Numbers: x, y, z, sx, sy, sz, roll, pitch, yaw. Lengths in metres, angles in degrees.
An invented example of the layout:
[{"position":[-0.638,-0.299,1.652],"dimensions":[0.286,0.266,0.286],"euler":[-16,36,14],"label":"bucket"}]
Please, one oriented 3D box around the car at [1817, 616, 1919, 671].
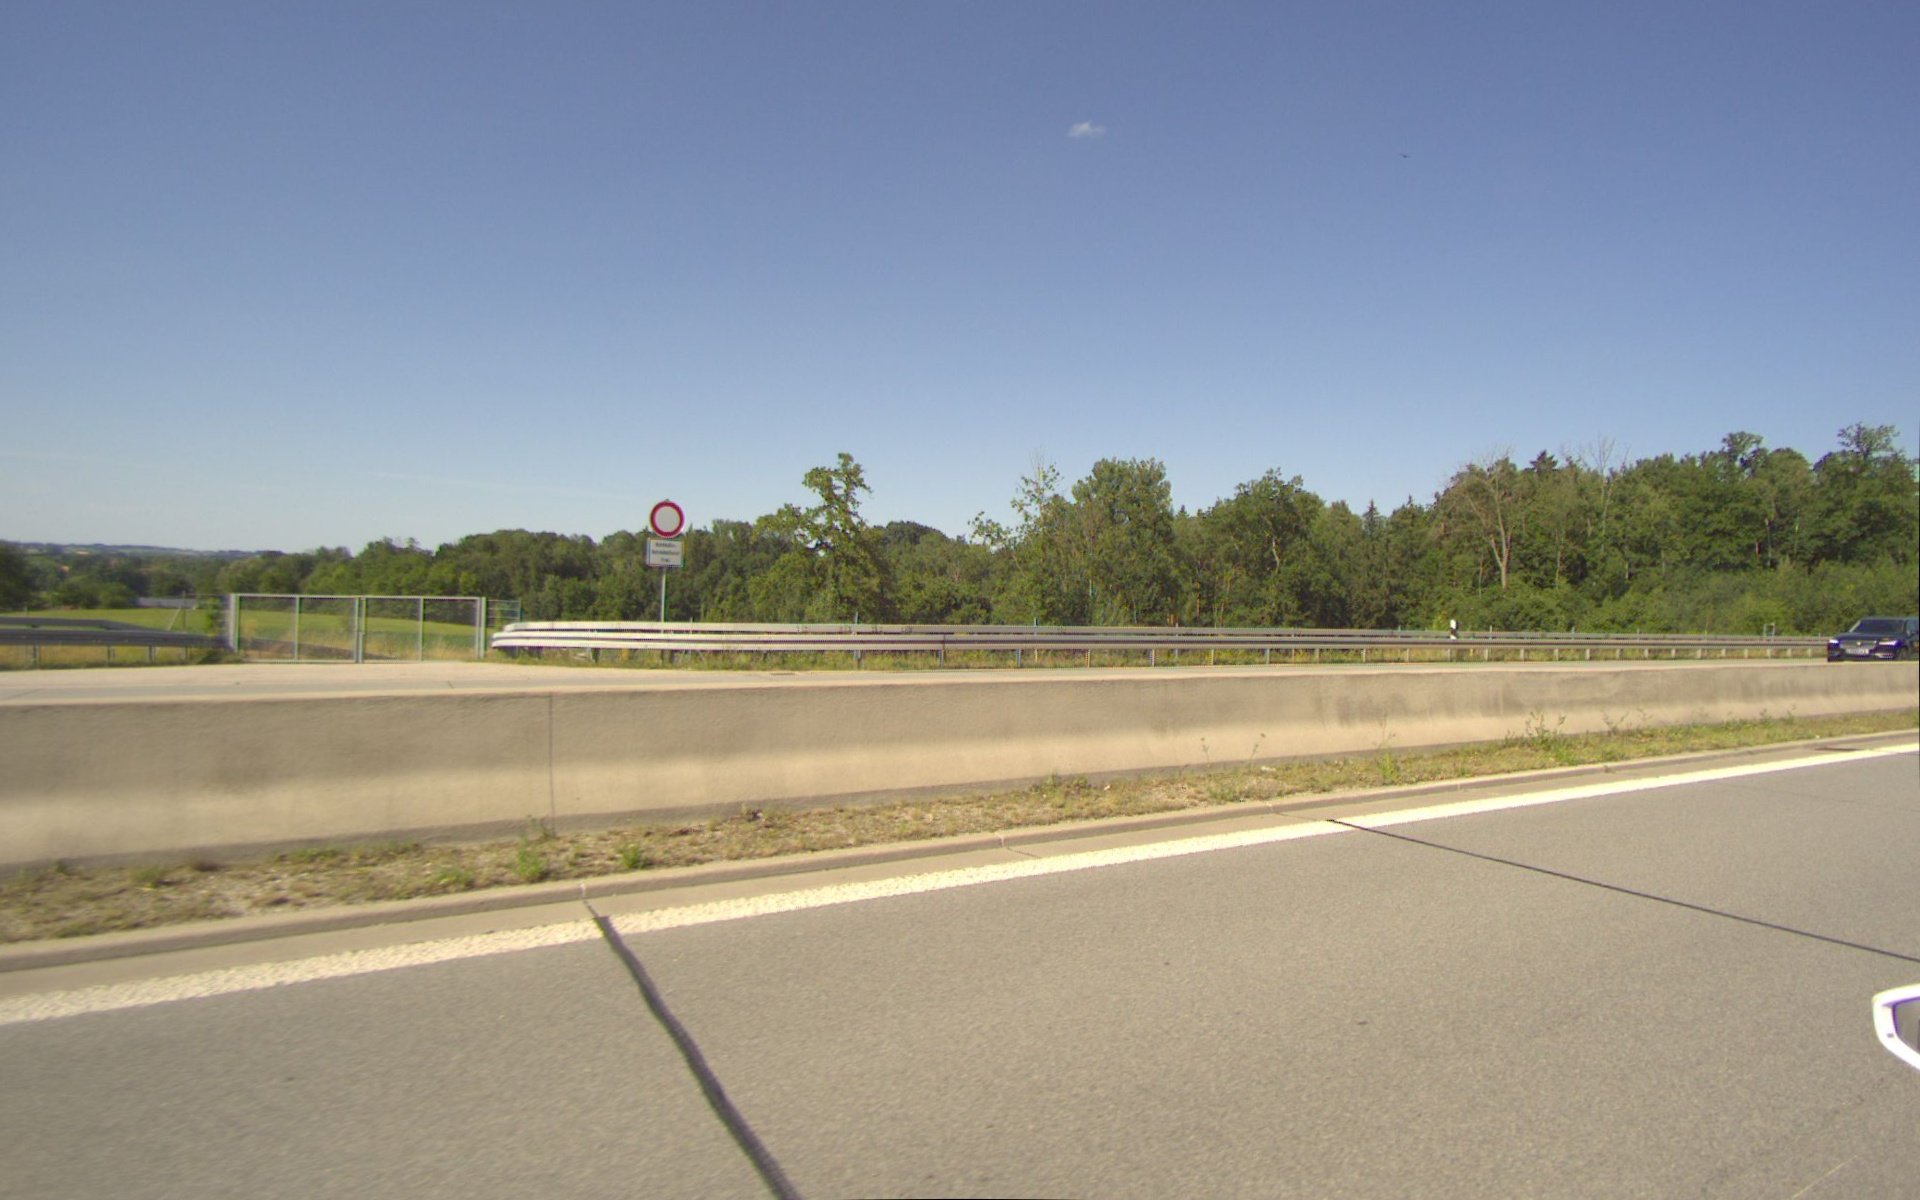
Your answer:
[{"position":[31.354,1.464,34.312],"dimensions":[4.220,1.714,1.892],"euler":[1,0,-31],"label":"car"}]
